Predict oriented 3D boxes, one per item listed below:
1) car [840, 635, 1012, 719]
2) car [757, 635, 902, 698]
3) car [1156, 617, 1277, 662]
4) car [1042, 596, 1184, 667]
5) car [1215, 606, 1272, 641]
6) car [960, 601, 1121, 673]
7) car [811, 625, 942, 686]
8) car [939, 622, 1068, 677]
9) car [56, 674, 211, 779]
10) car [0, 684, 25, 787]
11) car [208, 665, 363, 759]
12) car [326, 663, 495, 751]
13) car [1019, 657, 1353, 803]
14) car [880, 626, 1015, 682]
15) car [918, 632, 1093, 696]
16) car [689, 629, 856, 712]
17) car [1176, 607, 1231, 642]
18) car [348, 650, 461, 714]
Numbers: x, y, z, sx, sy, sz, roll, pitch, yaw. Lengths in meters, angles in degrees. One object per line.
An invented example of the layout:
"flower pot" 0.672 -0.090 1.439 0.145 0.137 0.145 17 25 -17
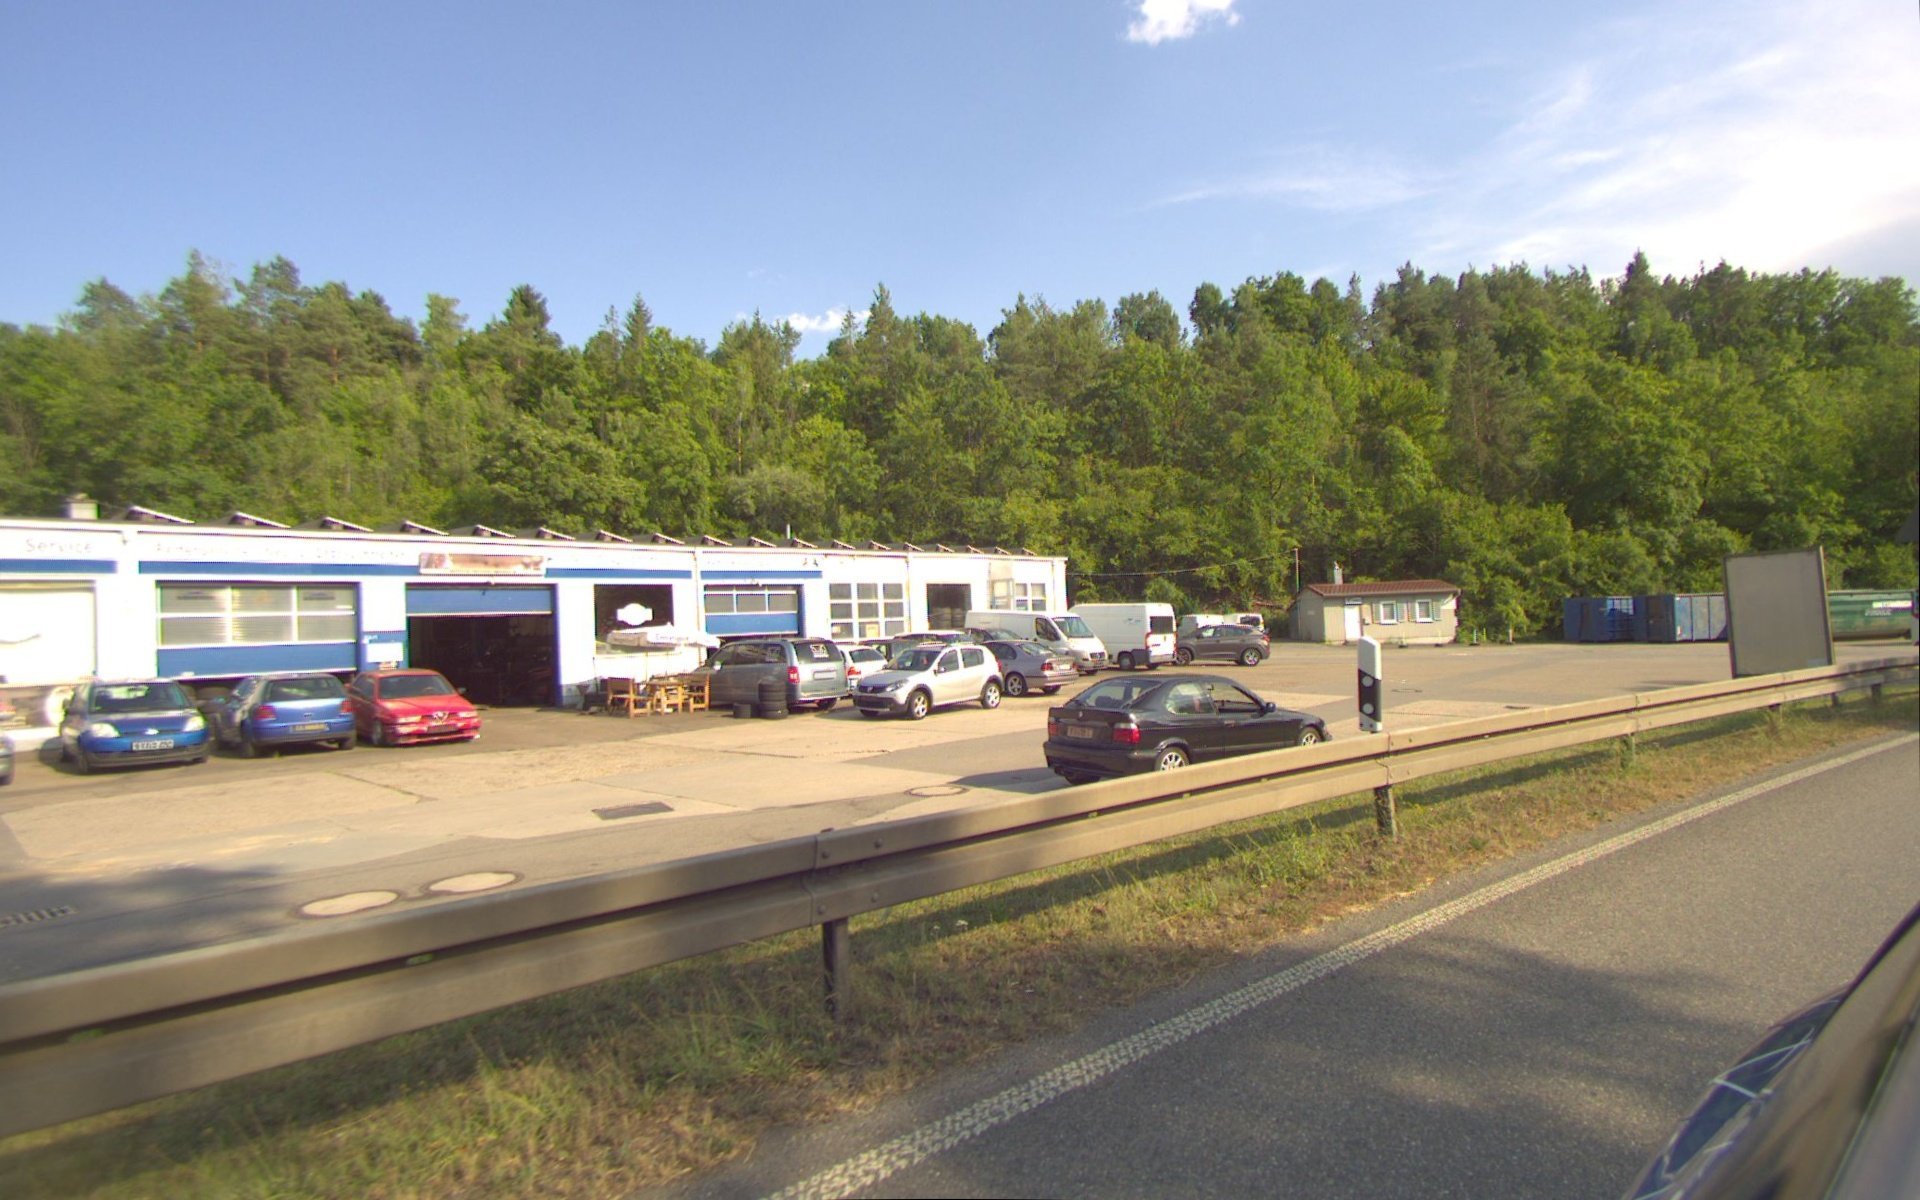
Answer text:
"car" -0.703 1.681 23.233 1.787 1.617 3.932 -1 -1 40
"car" -3.740 1.810 28.534 4.143 1.480 1.842 0 0 43
"car" 10.059 1.530 39.926 4.325 1.691 1.940 0 -1 4
"car" 5.696 1.141 38.114 4.904 2.480 2.174 -1 -1 42
"car" 17.654 1.488 63.294 1.960 2.040 4.561 -2 -1 -4
"car" 2.757 1.241 35.740 5.473 2.303 2.259 -1 -1 44
"car" -2.605 1.625 30.949 3.987 1.631 1.865 0 0 44
"car" 1.409 1.596 33.893 4.159 1.631 1.894 0 0 44
"car" -14.047 2.043 17.136 3.549 1.425 1.664 -3 -2 44
"car" -15.699 2.040 15.368 3.951 1.372 1.751 -1 -1 40
"car" -12.580 1.989 18.799 3.543 1.464 1.706 -3 -2 44
"car" -11.021 2.042 20.170 4.067 1.365 1.865 -1 -1 44
"car" 2.955 1.504 12.865 4.192 1.370 1.829 0 -2 -37
"car" -0.464 1.658 32.323 4.240 1.631 1.865 -2 -1 44
"car" 1.181 1.698 27.996 4.717 1.452 1.927 0 0 42
"car" -4.690 1.653 24.970 4.244 1.750 1.863 0 0 42
"car" 15.122 1.526 63.130 1.959 2.040 4.102 -1 -1 -7
"car" -16.519 2.365 30.040 4.016 1.580 1.718 0 0 42
